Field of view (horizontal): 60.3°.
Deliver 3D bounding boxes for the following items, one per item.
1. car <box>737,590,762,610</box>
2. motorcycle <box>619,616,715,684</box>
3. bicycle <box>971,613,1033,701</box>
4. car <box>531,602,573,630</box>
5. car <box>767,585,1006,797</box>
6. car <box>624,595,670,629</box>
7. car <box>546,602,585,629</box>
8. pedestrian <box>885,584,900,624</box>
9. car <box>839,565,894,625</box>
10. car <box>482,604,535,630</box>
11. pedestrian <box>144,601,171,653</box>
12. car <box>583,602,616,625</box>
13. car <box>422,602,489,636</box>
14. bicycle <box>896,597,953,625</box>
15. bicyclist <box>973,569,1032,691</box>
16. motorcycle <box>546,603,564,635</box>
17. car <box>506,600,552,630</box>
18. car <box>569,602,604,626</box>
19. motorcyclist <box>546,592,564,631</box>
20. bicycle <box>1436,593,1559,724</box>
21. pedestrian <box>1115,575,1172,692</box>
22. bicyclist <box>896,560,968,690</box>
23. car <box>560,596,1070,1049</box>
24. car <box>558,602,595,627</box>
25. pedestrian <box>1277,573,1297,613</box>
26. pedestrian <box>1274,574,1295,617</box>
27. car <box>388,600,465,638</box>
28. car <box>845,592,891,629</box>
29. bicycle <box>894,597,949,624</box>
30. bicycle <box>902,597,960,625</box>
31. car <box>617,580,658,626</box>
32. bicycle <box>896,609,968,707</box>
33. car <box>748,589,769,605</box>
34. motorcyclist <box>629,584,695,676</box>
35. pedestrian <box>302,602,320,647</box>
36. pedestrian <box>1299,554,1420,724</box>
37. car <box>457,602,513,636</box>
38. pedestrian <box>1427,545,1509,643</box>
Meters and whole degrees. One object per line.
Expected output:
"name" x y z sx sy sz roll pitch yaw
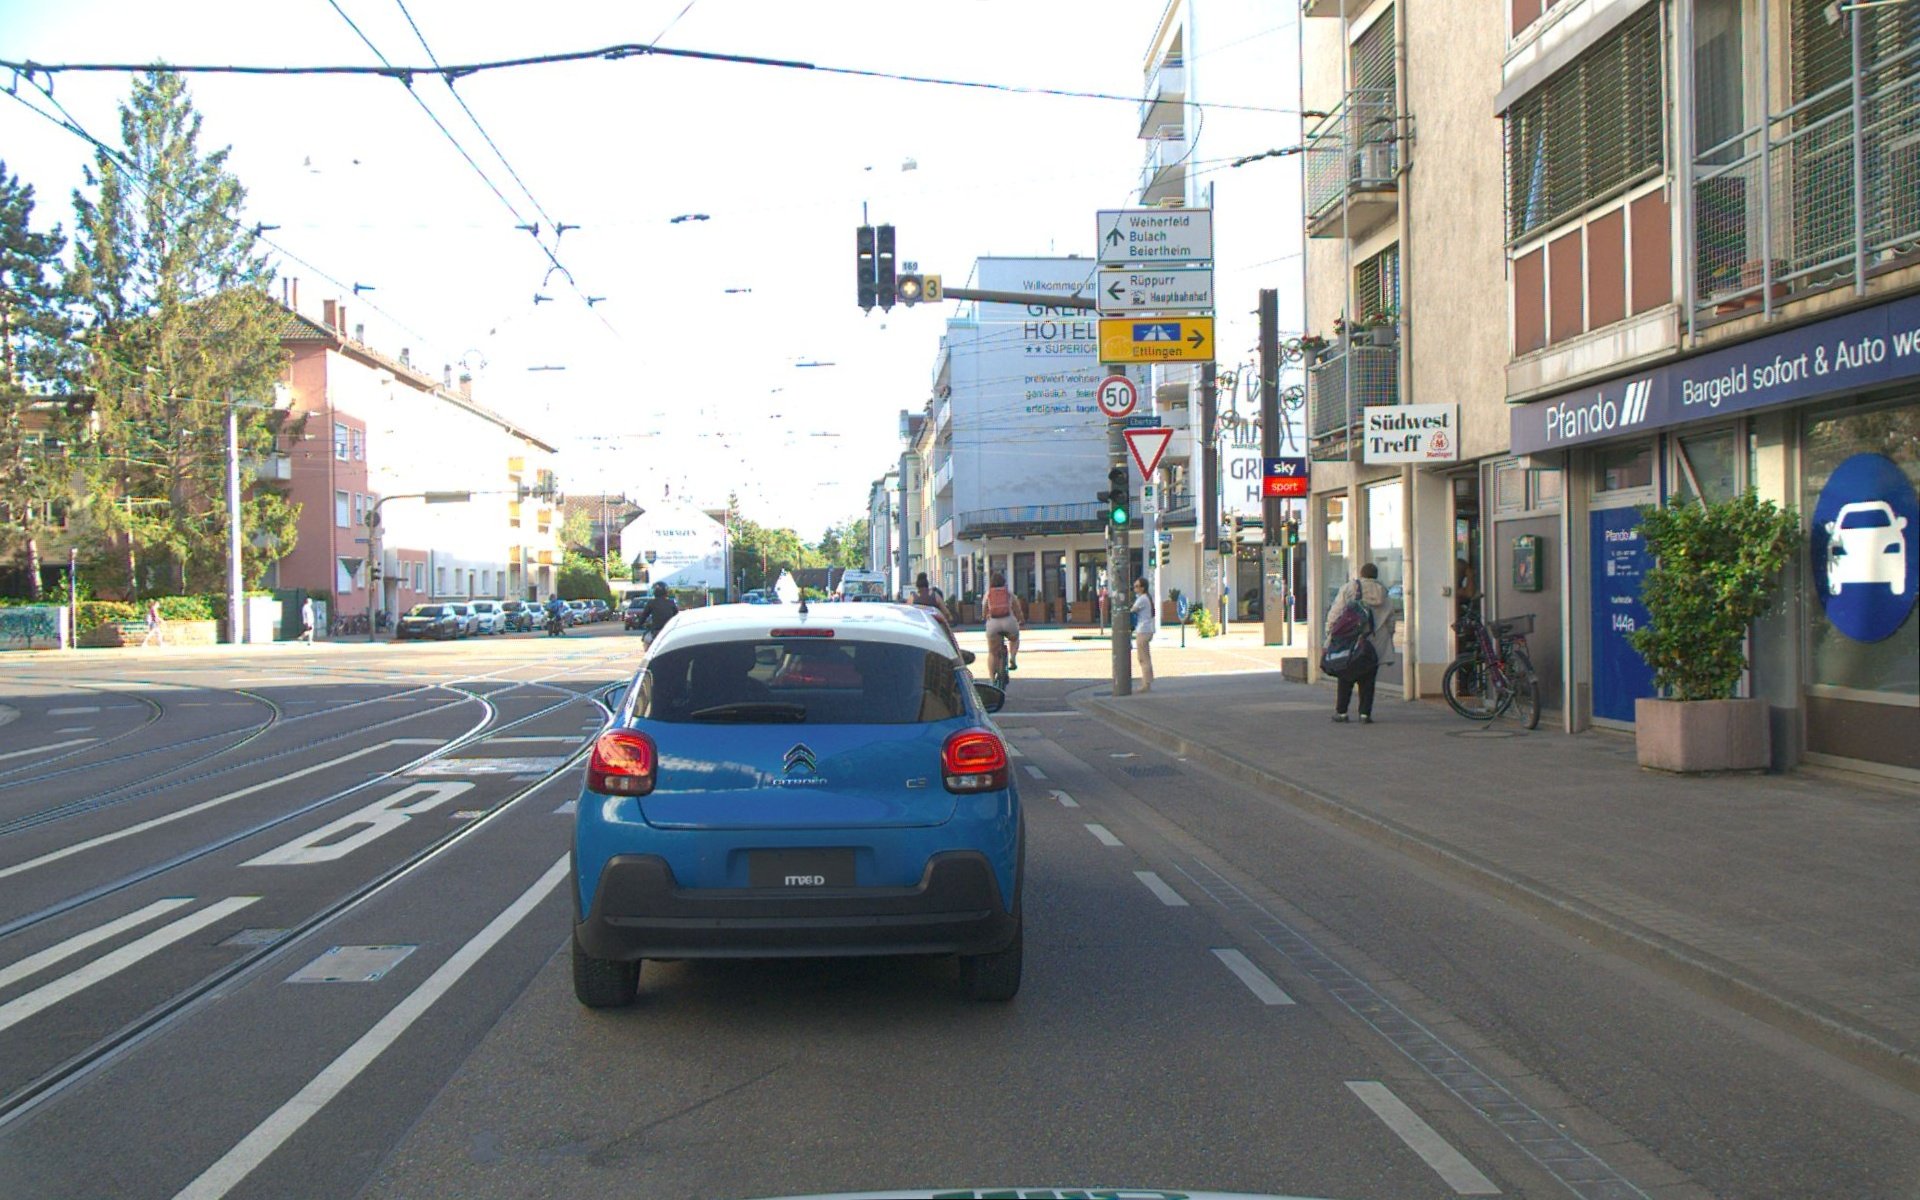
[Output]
"car" -21.587 0.025 169.639 2.174 1.965 4.945 1 0 -4
"motorcycle" -4.903 0.813 27.590 0.848 1.065 1.918 1 0 -35
"bicycle" 0.630 0.801 23.971 0.794 1.202 2.065 1 0 4
"car" -24.084 0.910 97.759 1.833 1.604 3.995 1 0 -6
"car" -0.715 0.665 14.166 1.750 1.548 3.758 1 1 -5
"car" -14.410 0.551 76.292 1.744 1.512 3.824 -1 0 -5
"car" -24.362 0.924 102.248 1.833 1.604 3.995 1 0 -6
"pedestrian" -2.830 0.167 69.607 0.600 1.683 0.671 1 -1 -2
"car" -4.150 -0.212 72.767 2.221 2.525 5.002 0 0 -5
"car" -23.391 0.865 85.806 1.909 1.261 4.278 1 0 -5
"pedestrian" -27.475 0.923 56.614 0.771 1.752 0.699 1 -1 -24
"car" -25.792 0.966 118.567 1.833 1.604 3.995 1 0 -6
"car" -22.428 0.834 73.719 1.865 1.462 4.100 1 0 -3
"bicycle" -1.438 0.440 67.153 2.208 1.019 0.855 -2 0 -6
"bicyclist" 0.627 0.423 23.901 0.794 1.721 0.935 1 0 4
"motorcycle" -16.330 0.794 66.690 0.700 1.241 1.958 -1 -2 -14
"car" -23.854 0.808 91.703 1.833 1.604 3.995 1 0 -6
"car" -25.327 0.948 112.304 1.833 1.604 3.995 1 0 -6
"motorcyclist" -16.287 0.463 66.516 0.681 1.523 0.682 -1 -2 -14
"bicycle" 5.116 0.536 15.840 0.486 1.182 1.776 -1 0 -4
"pedestrian" 2.681 0.483 24.152 0.528 1.652 0.733 -5 -2 21
"bicyclist" -0.386 0.328 22.413 0.921 1.702 1.079 1 0 -2
"car" -0.730 0.730 7.353 1.704 1.478 3.655 0 0 -9
"car" -24.933 0.936 107.524 1.833 1.604 3.995 1 0 -6
"pedestrian" 13.310 -0.280 67.326 0.598 1.636 0.668 1 -1 29
"pedestrian" 12.642 -0.178 64.440 0.598 1.636 0.668 1 -1 27
"car" -22.104 0.818 68.714 2.112 1.457 4.435 1 -2 -5
"car" -3.802 0.409 67.734 1.626 1.456 3.882 1 0 -7
"bicycle" -1.597 0.446 68.266 2.208 1.019 0.855 -2 0 -6
"bicycle" -1.149 0.449 65.790 2.208 1.019 0.855 -2 0 -6
"car" -23.127 0.236 118.723 2.370 3.197 3.486 1 0 -4
"bicycle" -0.396 0.761 22.473 0.921 1.245 2.094 1 0 -2
"car" -22.859 -0.321 187.494 2.033 1.793 5.032 1 0 -4
"motorcyclist" -5.002 0.504 27.723 0.848 1.514 0.720 1 -1 -36
"pedestrian" -23.223 0.870 59.182 0.511 1.596 0.568 1 -1 -29
"pedestrian" 4.008 0.372 16.634 0.868 1.619 0.809 -3 1 -9
"car" -22.620 0.892 78.924 1.707 1.553 4.226 1 0 -4
"pedestrian" 5.930 -0.074 19.317 0.618 1.106 0.670 -2 1 -38
